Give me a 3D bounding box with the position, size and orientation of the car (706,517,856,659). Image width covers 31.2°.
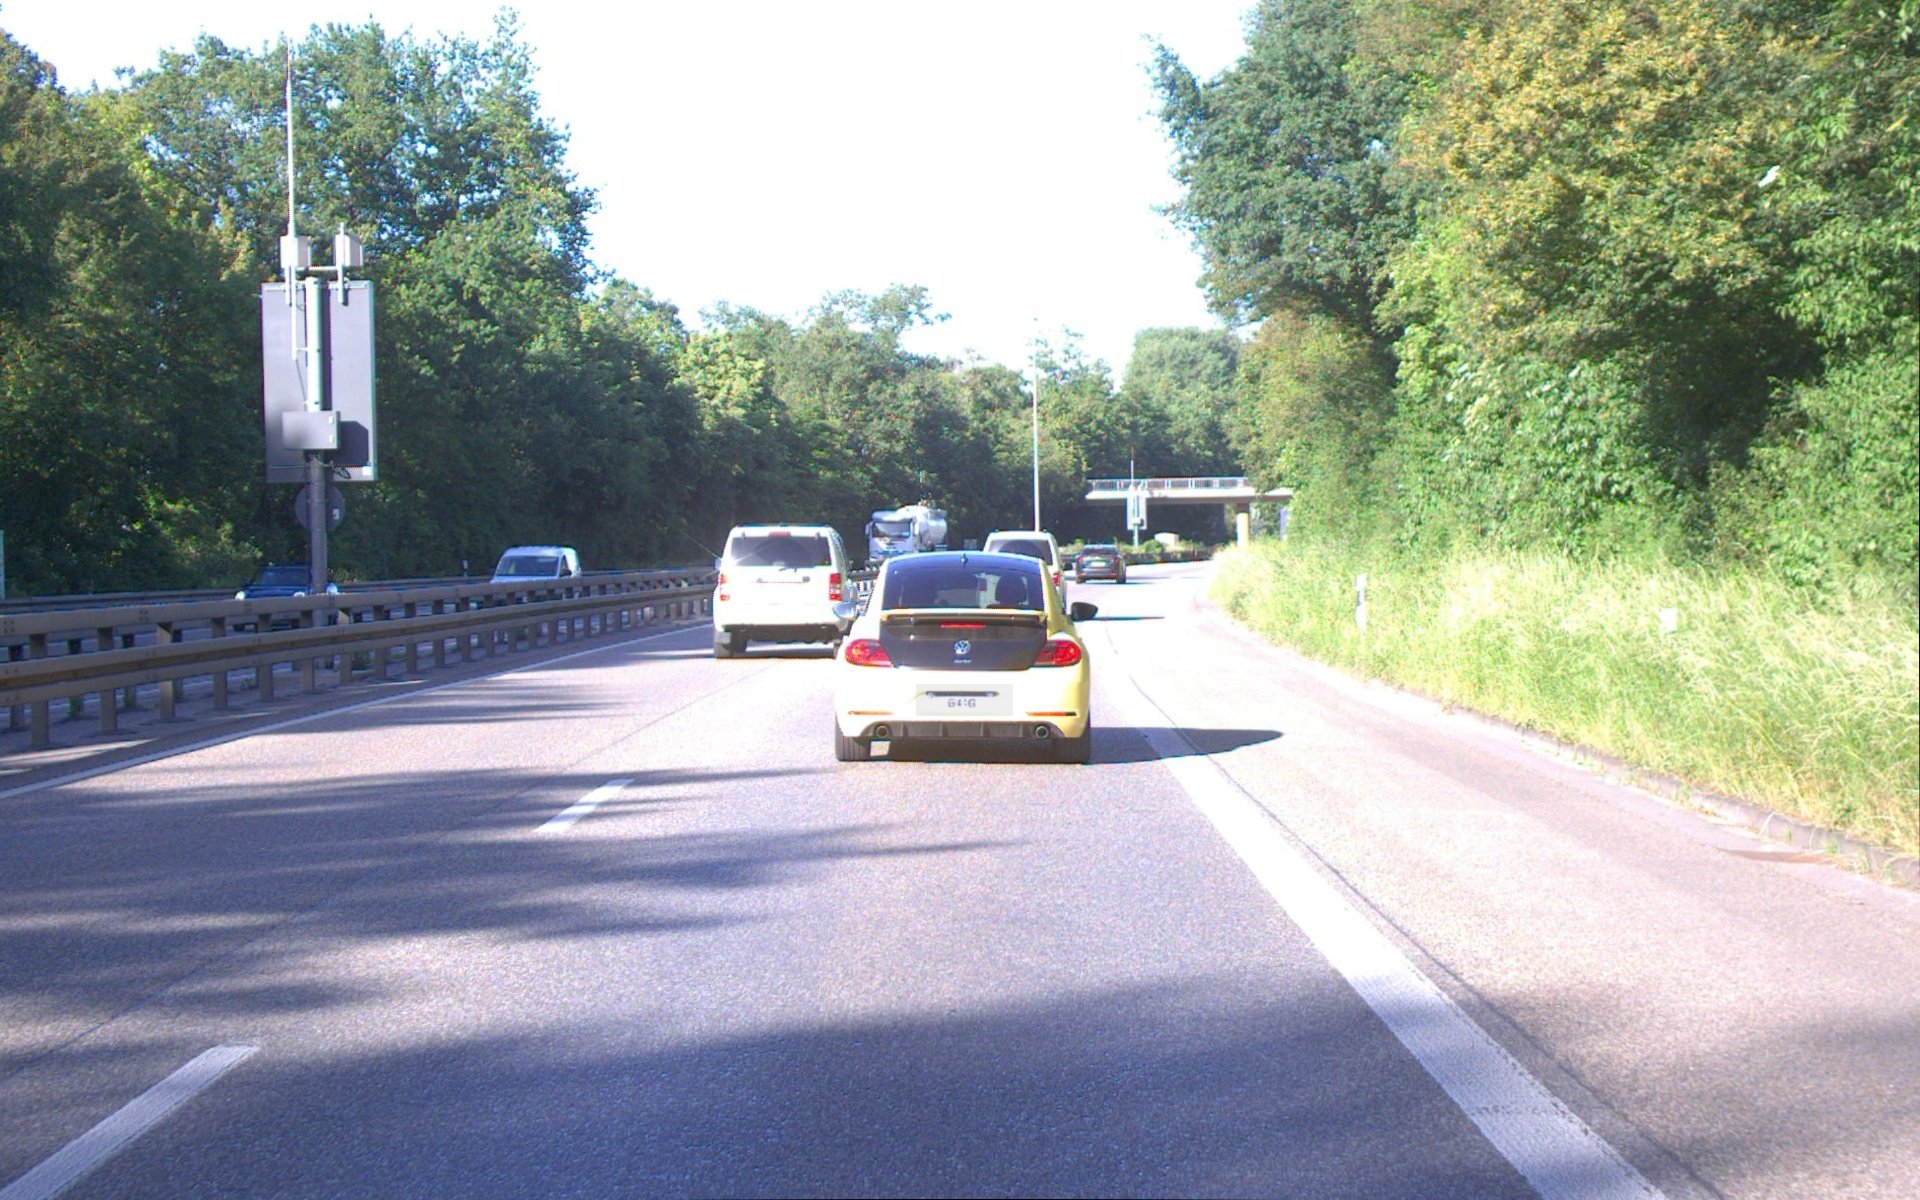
[{"bbox_3d":[-2.357,-0.187,45.996,1.741,1.823,3.422,0,1,2],"label":"car"}]

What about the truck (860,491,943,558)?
[{"bbox_3d":[-3.201,-4.277,193.201,2.889,3.509,11.949,-2,1,7],"label":"truck"}]

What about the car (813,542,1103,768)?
[{"bbox_3d":[-0.084,0.341,24.797,1.939,1.503,3.423,0,1,-3],"label":"car"}]

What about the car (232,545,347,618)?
[{"bbox_3d":[-14.427,-0.418,74.134,1.597,1.475,3.910,-1,1,1],"label":"car"}]

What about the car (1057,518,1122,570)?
[{"bbox_3d":[4.990,-2.158,131.899,2.263,1.869,5.076,-2,1,4],"label":"car"}]

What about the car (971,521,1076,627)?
[{"bbox_3d":[1.288,-0.556,69.513,1.993,2.007,4.000,-2,1,1],"label":"car"}]

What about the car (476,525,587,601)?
[{"bbox_3d":[-10.725,-0.957,86.364,1.993,1.782,5.028,-2,1,1],"label":"car"}]
